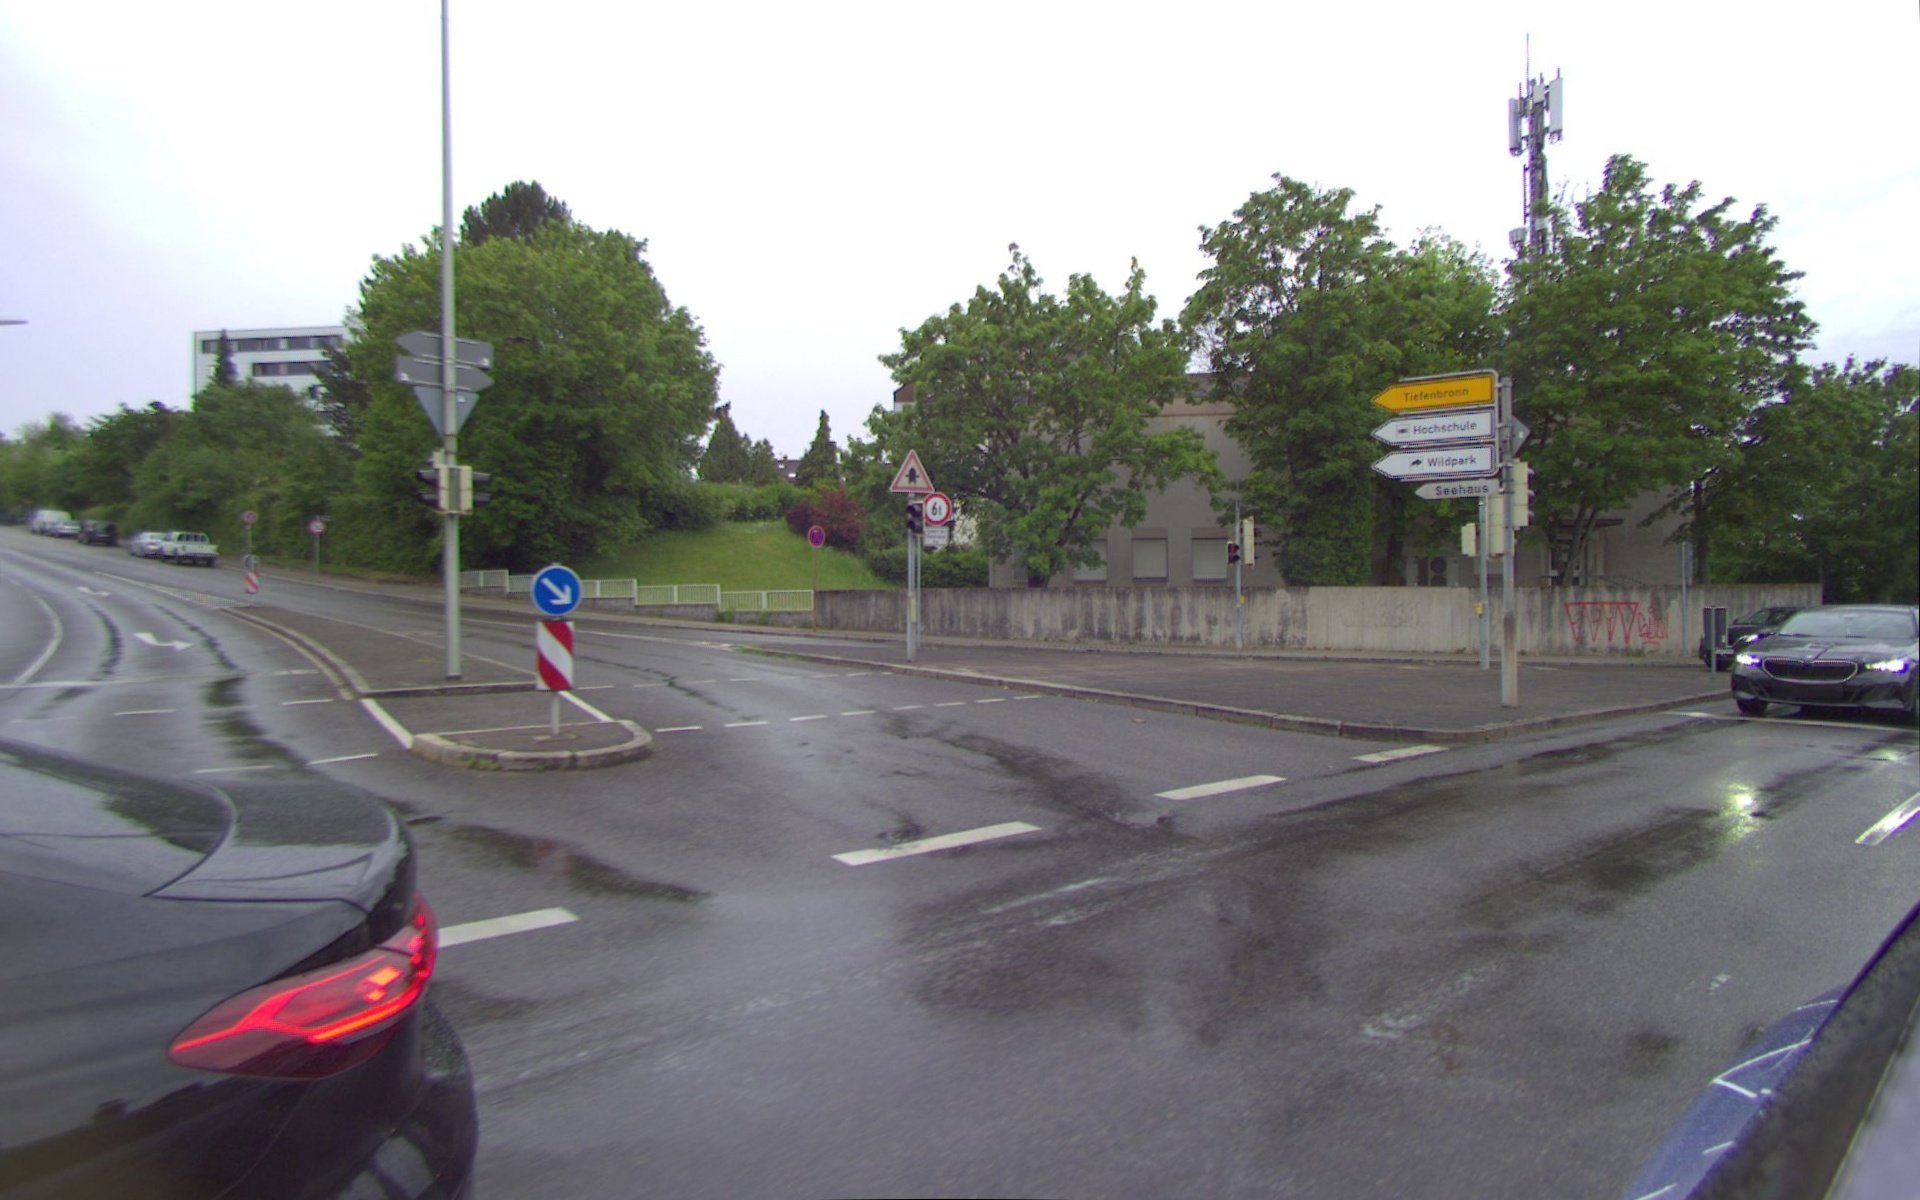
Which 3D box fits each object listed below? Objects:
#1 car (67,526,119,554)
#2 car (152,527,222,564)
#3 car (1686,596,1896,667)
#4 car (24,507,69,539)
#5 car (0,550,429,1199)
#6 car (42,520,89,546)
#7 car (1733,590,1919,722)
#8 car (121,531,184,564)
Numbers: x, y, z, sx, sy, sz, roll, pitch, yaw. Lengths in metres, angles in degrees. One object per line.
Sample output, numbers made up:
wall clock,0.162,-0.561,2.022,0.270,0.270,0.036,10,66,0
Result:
car,-59.807,-4.143,69.812,3.978,1.829,1.974,2,2,37
car,-41.797,-2.927,54.696,4.188,1.900,1.974,2,2,37
car,19.857,0.715,24.243,3.918,1.571,1.697,0,0,-9
car,-72.811,-6.084,80.682,3.978,2.417,1.974,2,2,37
car,-3.093,0.681,0.577,4.657,1.442,1.869,-1,1,-42
car,-68.327,-5.103,77.259,3.978,1.829,1.974,2,2,37
car,12.355,0.651,13.836,3.926,1.538,1.872,-1,0,-37
car,-47.122,-3.031,59.026,3.978,1.829,1.974,2,2,37
